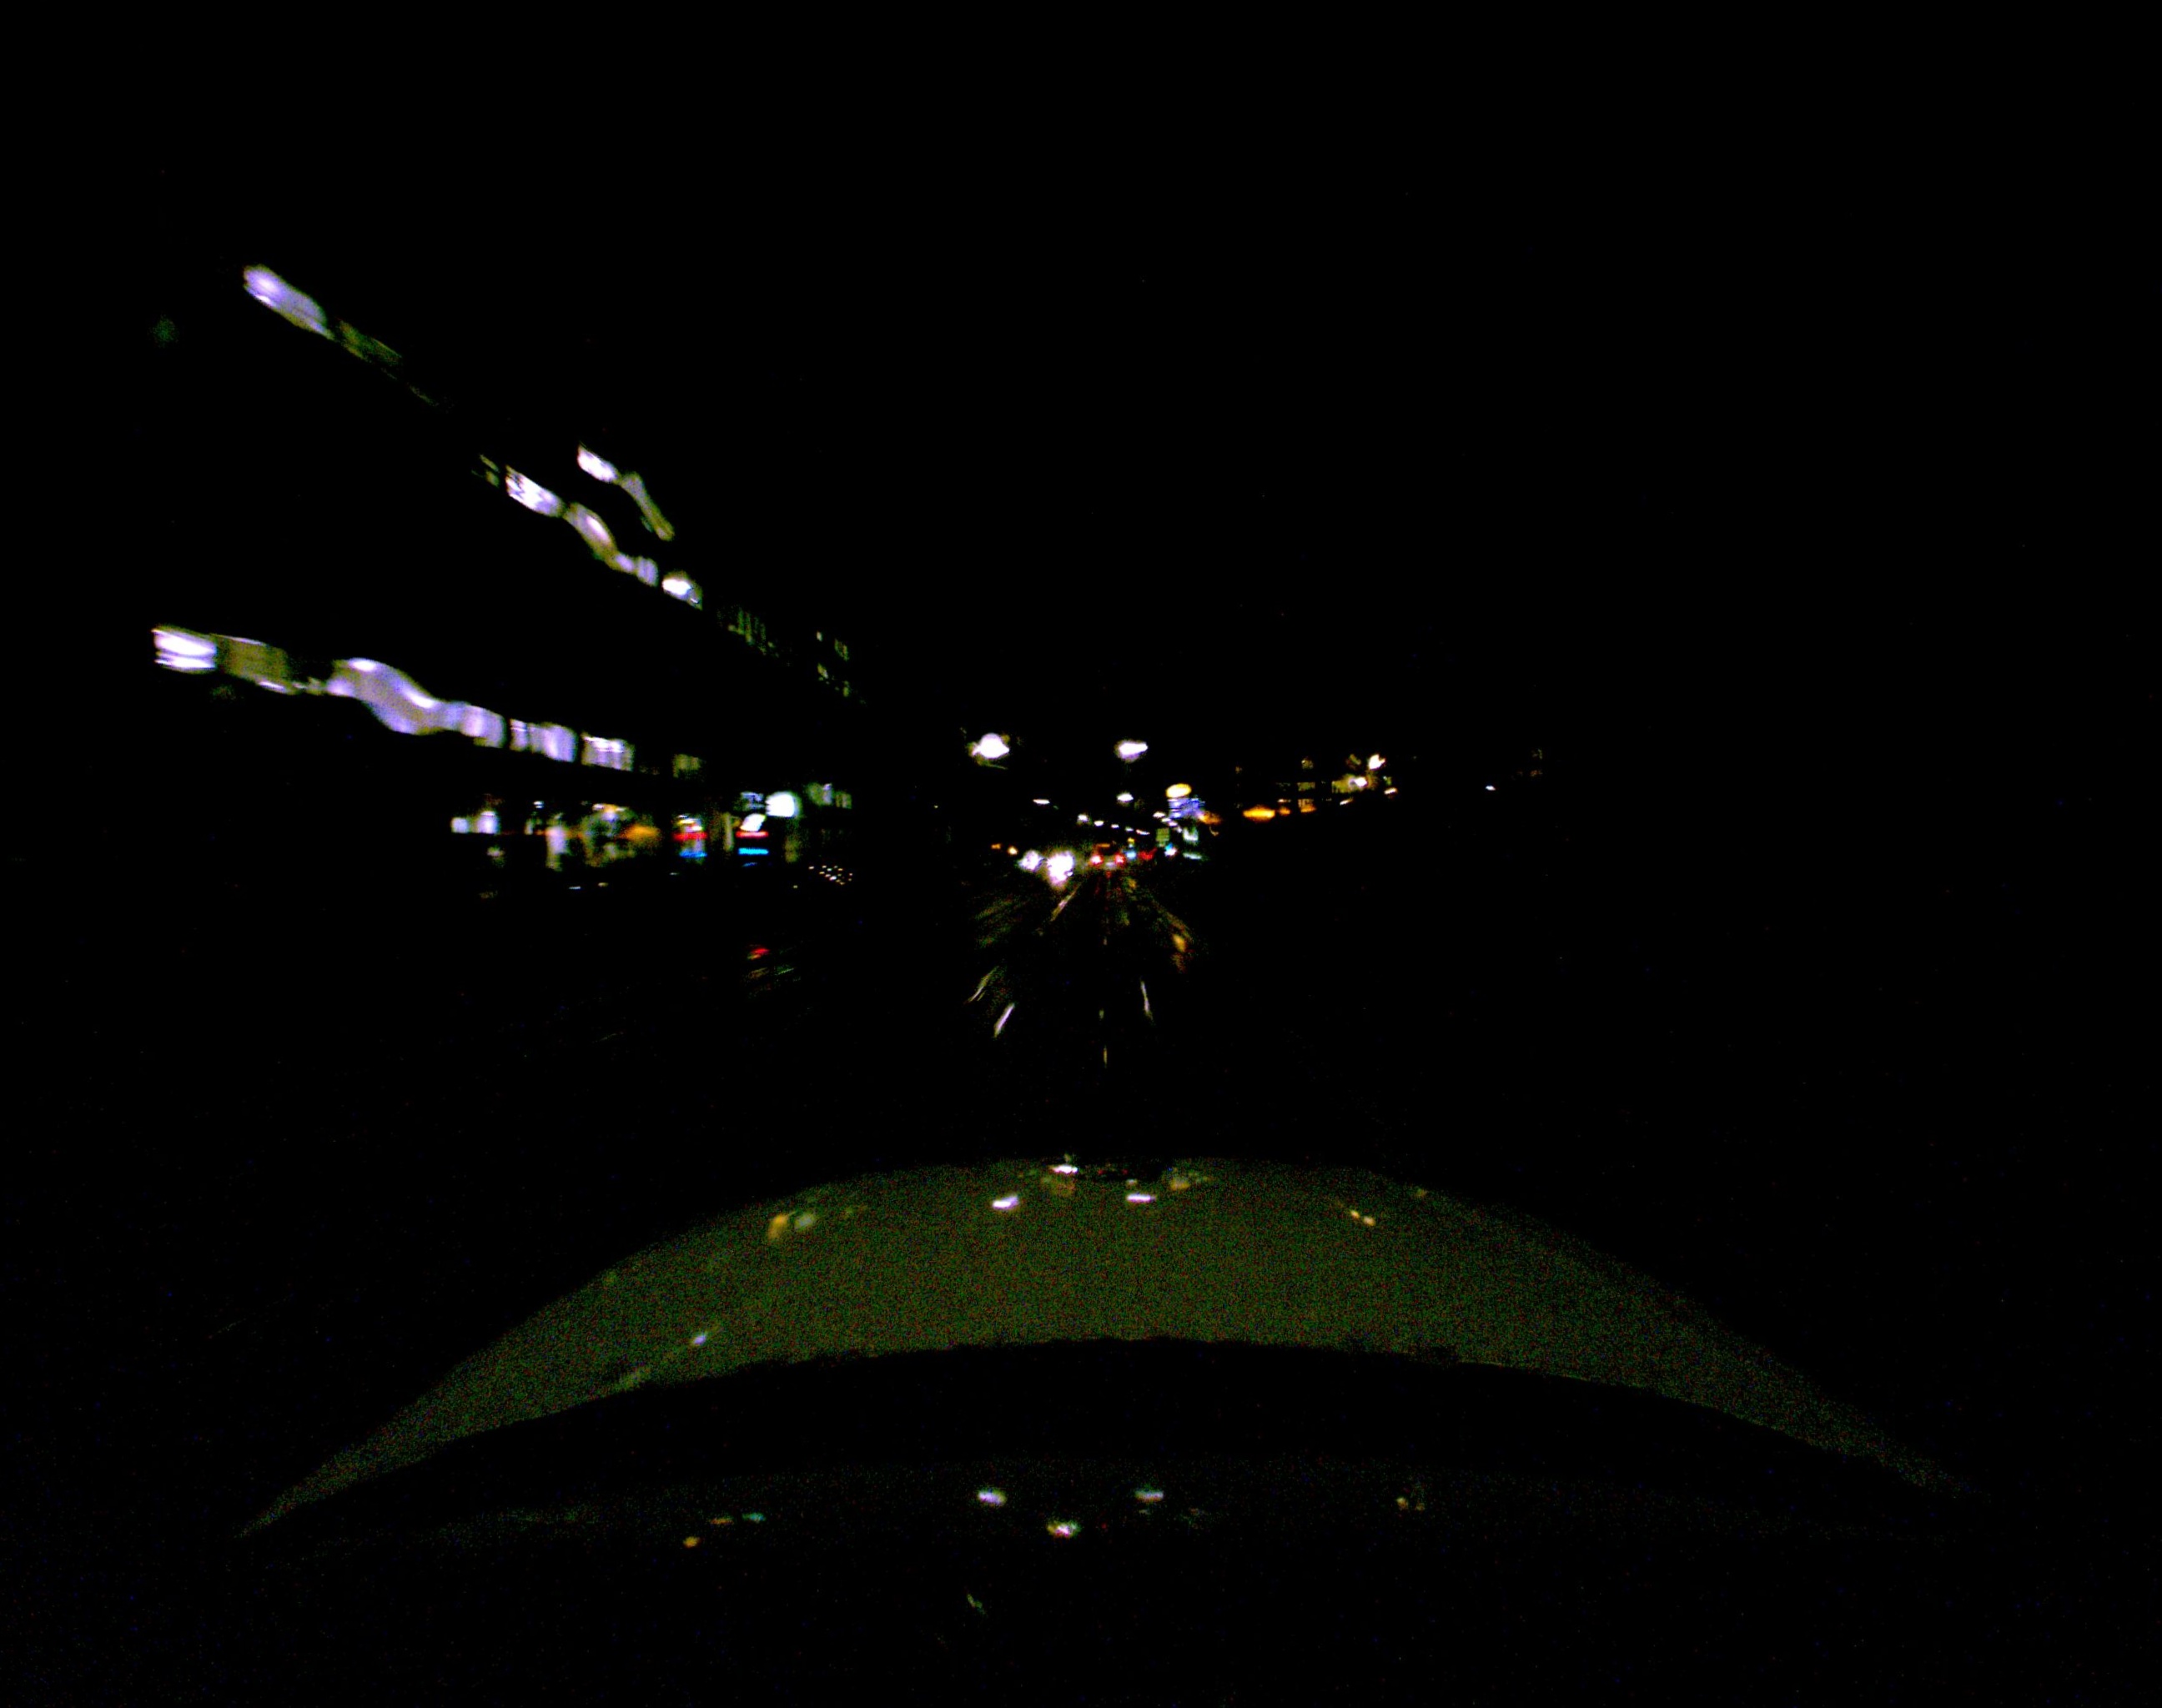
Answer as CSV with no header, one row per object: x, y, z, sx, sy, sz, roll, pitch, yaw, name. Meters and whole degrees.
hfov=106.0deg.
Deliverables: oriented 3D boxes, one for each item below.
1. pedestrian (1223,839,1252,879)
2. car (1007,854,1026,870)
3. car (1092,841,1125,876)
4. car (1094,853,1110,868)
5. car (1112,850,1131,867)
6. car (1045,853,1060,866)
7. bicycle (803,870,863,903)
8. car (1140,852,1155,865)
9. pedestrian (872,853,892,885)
6.780,0.200,35.278,0.937,1.663,0.993,-4,0,-3,pedestrian
-8.355,1.010,106.129,1.985,2.013,4.003,-2,0,3,car
1.929,0.295,58.064,2.236,2.361,4.394,-1,0,1,car
2.737,0.845,107.944,1.986,1.816,4.001,-1,0,1,car
4.485,0.451,89.588,2.007,1.815,4.004,-2,0,4,car
-3.946,0.716,113.899,1.988,1.724,4.074,-1,0,-2,car
-8.650,1.143,28.447,1.847,1.077,0.628,-2,0,1,bicycle
10.407,0.709,127.279,1.986,2.013,4.001,-1,0,1,car
-10.762,0.785,44.001,0.783,1.686,0.883,-1,0,2,pedestrian
